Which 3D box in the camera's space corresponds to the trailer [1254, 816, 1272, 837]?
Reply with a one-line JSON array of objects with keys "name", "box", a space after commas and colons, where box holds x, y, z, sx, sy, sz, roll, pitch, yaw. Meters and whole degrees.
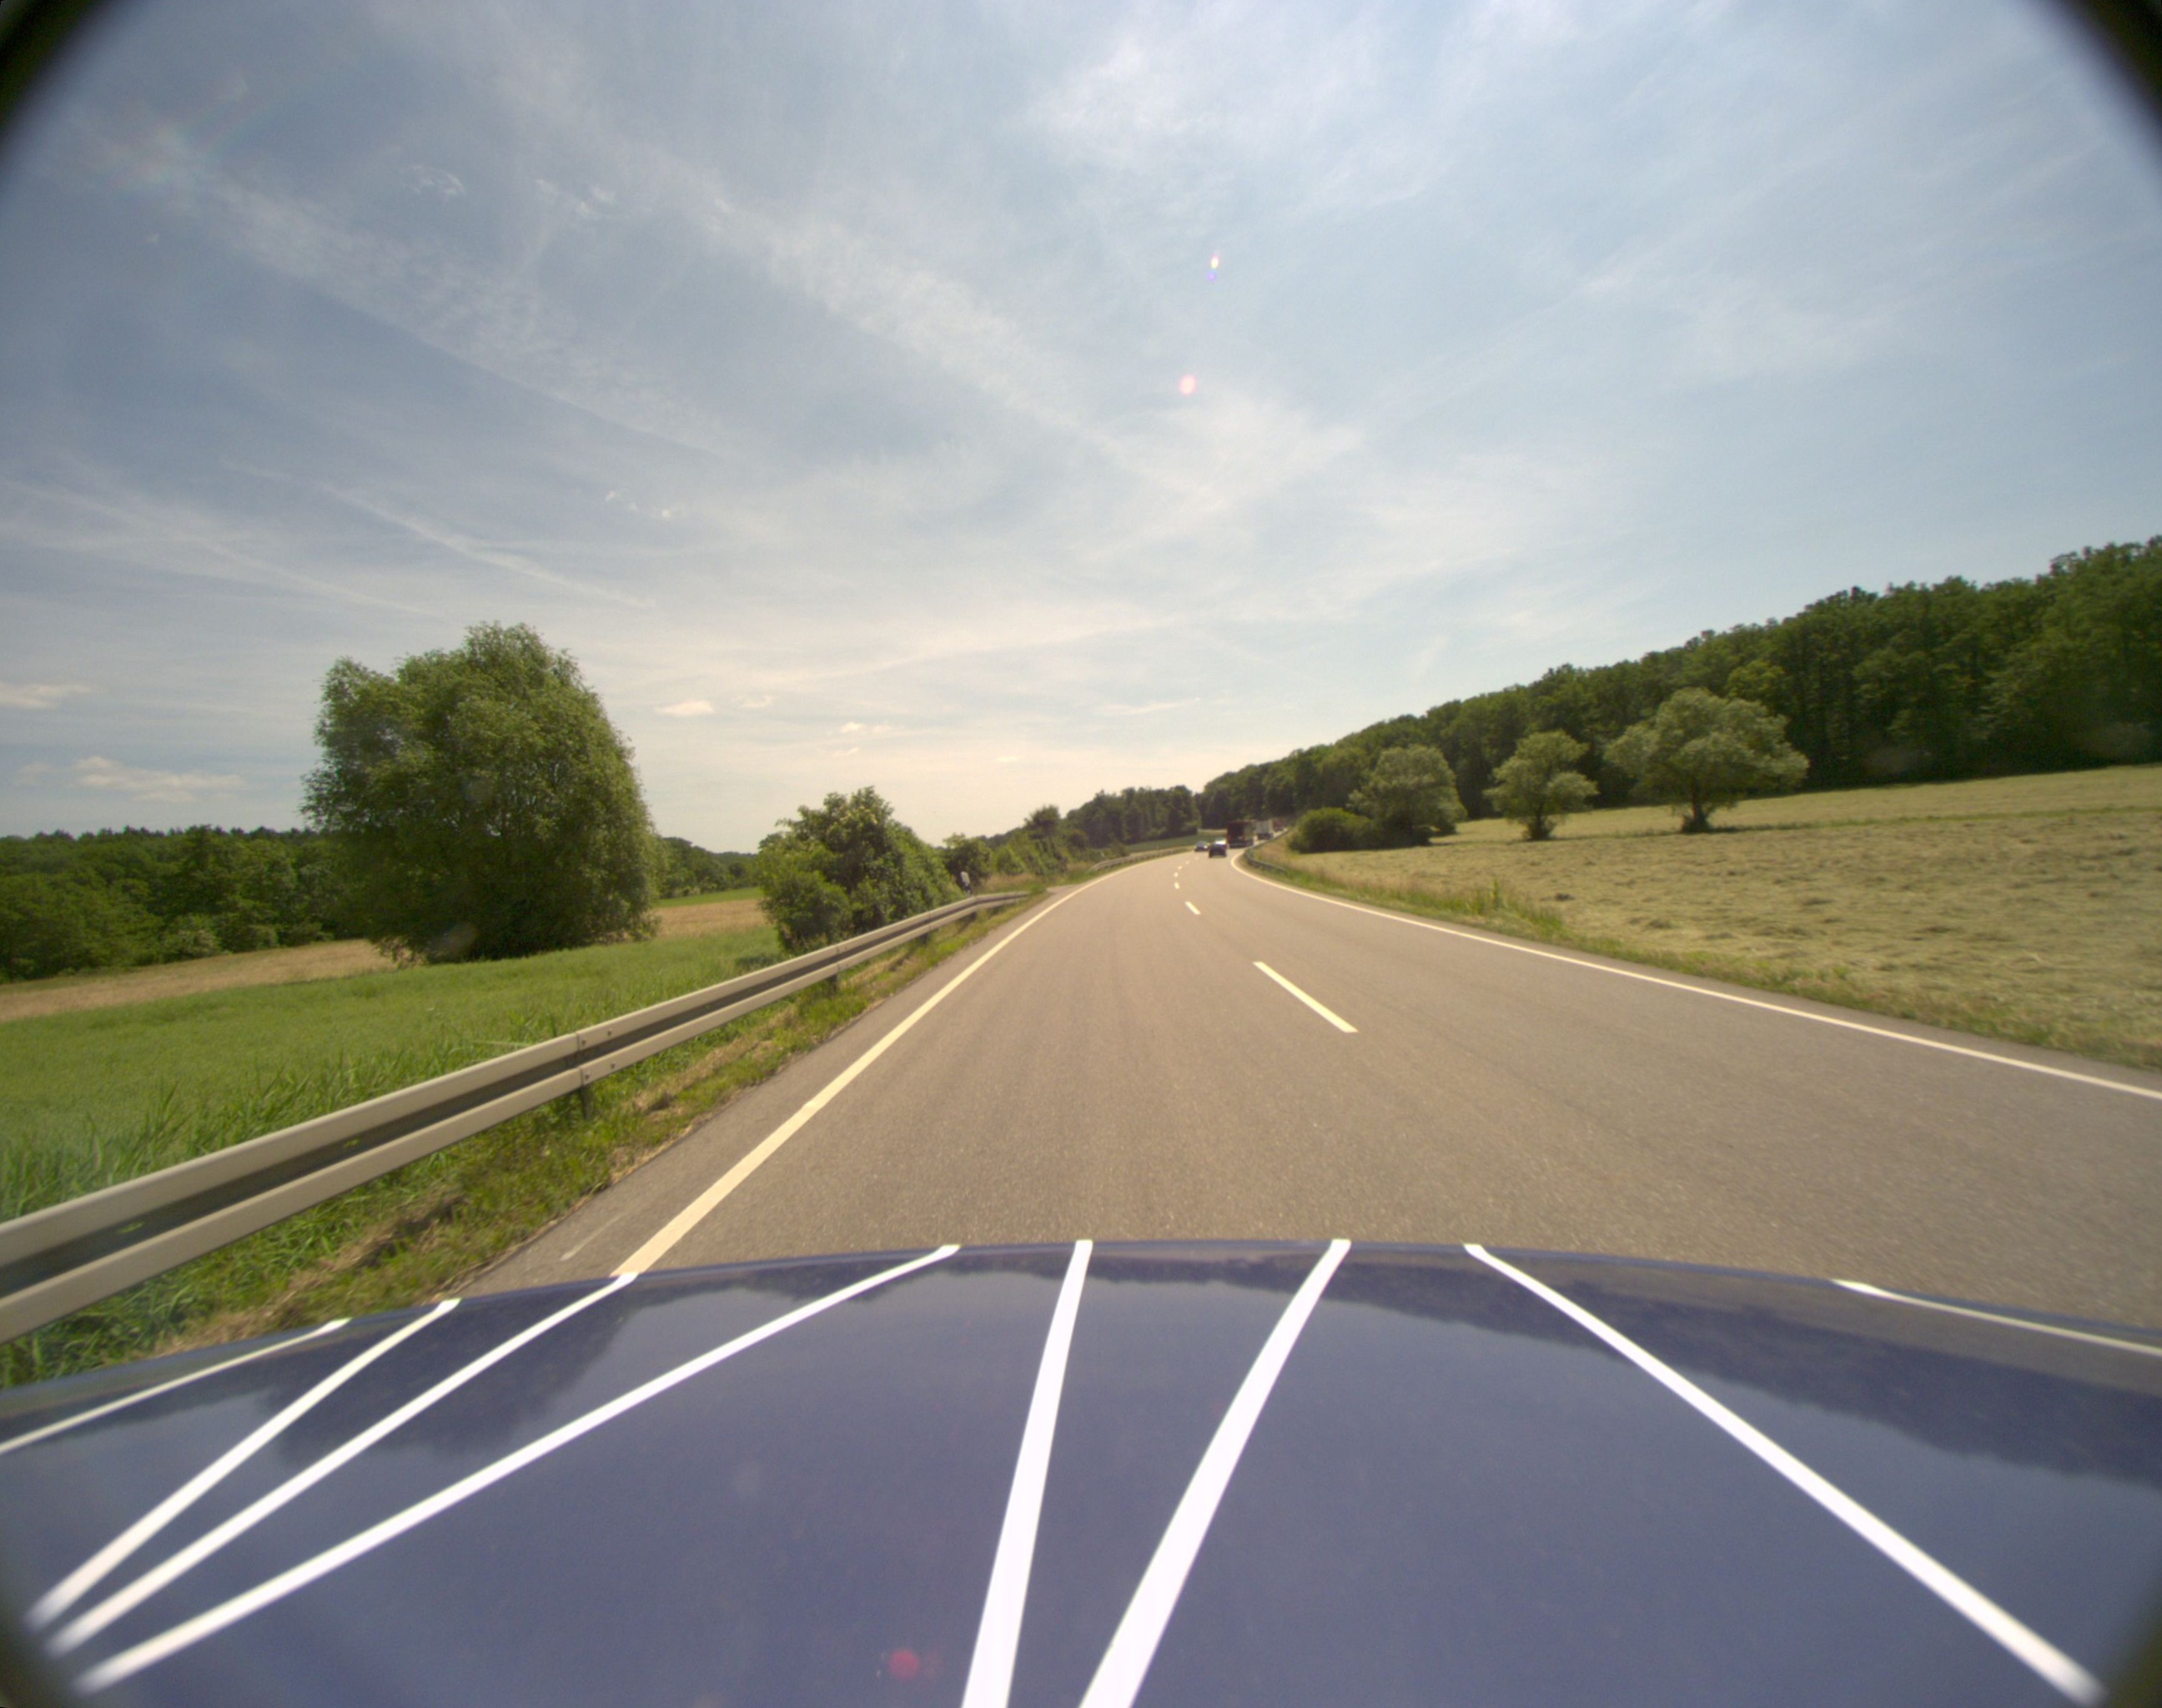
[{"name": "trailer", "box": [39.275, -5.939, 163.834, 3.378, 4.376, 13.756, -2, 2, 15]}]

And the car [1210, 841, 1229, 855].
[{"name": "car", "box": [14.552, -0.648, 79.903, 1.702, 1.461, 4.203, -1, 1, 13]}]

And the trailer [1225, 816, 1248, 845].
[{"name": "trailer", "box": [24.442, -3.661, 119.128, 3.246, 4.127, 14.452, -1, 2, 12]}]

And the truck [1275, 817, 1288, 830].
[{"name": "truck", "box": [59.752, -9.110, 225.854, 2.706, 3.629, 10.110, -3, 2, 20]}]

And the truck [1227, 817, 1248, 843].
[{"name": "truck", "box": [26.099, -3.921, 126.447, 3.246, 4.126, 6.657, -2, 0, 12]}]

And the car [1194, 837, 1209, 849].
[{"name": "car", "box": [16.643, -1.492, 104.888, 1.620, 1.428, 3.446, -3, 1, 17]}]
